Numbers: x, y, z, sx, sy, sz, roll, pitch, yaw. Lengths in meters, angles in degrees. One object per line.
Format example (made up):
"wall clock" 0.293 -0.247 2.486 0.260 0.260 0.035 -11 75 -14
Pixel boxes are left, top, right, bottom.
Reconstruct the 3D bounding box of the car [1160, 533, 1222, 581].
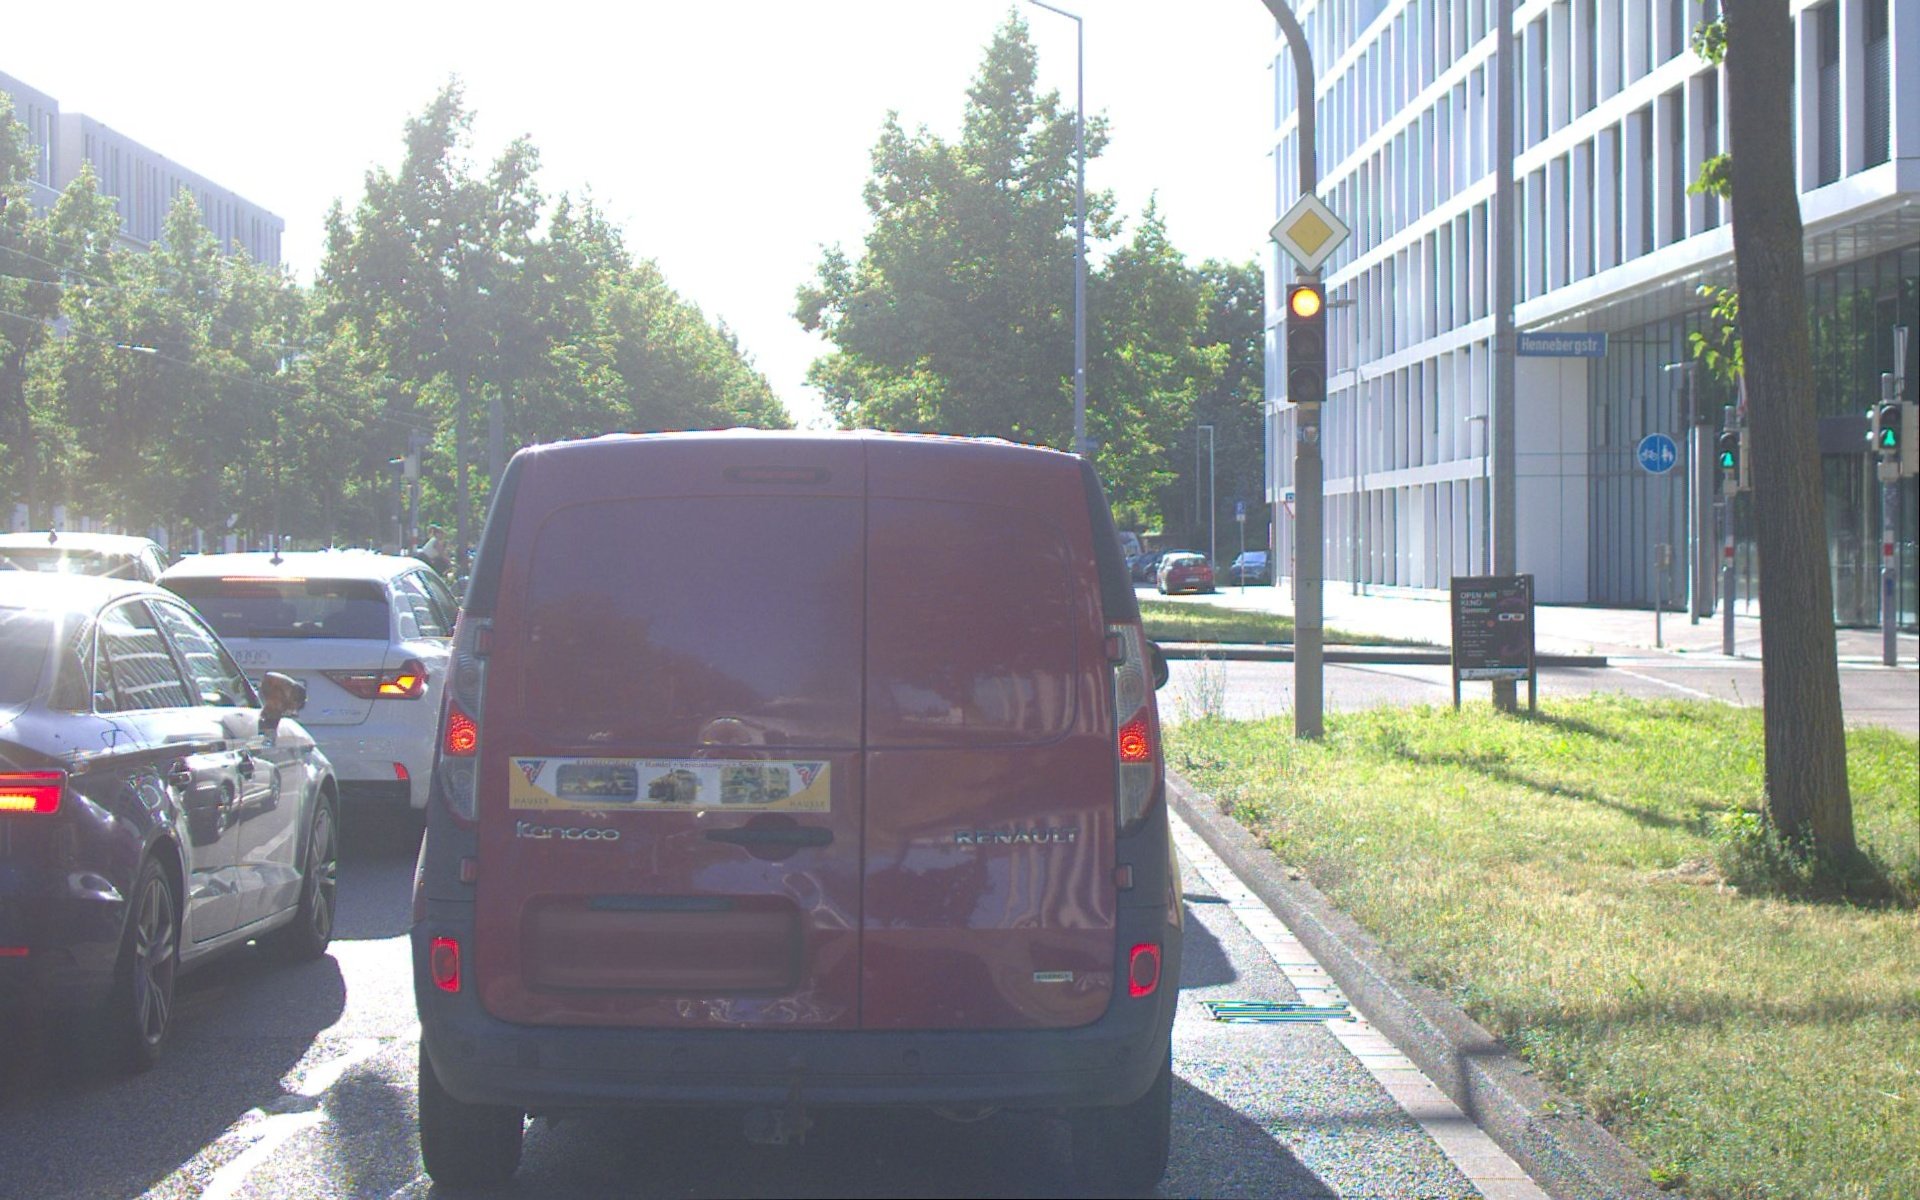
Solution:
"car" 8.577 -1.612 127.900 1.993 1.776 4.000 0 1 -1

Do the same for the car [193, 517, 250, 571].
"car" -36.135 -2.746 168.344 1.993 2.598 4.000 0 1 -1

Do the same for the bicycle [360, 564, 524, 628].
"bicycle" -9.662 -0.083 64.201 2.942 1.186 0.818 0 1 0

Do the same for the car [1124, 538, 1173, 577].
"car" 8.784 -1.985 160.611 1.993 1.776 4.000 0 1 -1

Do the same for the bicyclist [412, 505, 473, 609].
"bicyclist" -9.664 -0.806 64.206 0.998 1.940 0.818 0 1 0

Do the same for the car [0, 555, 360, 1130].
"car" -3.166 0.584 10.831 1.842 1.421 4.339 0 1 -1

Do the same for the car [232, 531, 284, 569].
"car" -37.227 -2.656 182.403 1.993 2.007 4.000 0 1 -1

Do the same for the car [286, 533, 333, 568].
"car" -37.677 -2.869 199.217 1.993 2.007 4.000 0 1 -1

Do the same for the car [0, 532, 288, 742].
"car" -6.347 0.210 25.970 1.799 1.442 4.569 0 1 -2

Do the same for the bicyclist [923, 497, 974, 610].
"bicyclist" -0.225 -0.861 63.931 0.940 2.085 0.818 0 1 0

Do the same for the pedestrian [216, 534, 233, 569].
"pedestrian" -42.578 -2.800 198.999 0.806 2.007 0.871 0 1 -1

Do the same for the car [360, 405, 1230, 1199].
"car" -0.375 0.439 9.301 1.842 1.774 4.000 0 1 -1

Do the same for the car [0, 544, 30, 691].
"car" -11.100 0.210 35.247 1.799 1.442 4.568 -1 0 -31

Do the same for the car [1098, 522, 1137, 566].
"car" 9.072 -3.249 198.318 1.993 2.488 4.987 0 1 -1

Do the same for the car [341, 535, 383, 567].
"car" -37.758 -3.081 217.235 1.993 2.007 4.000 0 1 -1

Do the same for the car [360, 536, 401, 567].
"car" -37.547 -3.138 222.859 1.993 2.007 4.000 0 1 -1

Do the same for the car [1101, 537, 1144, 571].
"car" 8.486 -2.417 179.808 1.993 1.776 4.000 0 1 -1

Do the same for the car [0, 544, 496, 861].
"car" -3.510 0.433 17.529 1.803 1.421 3.901 0 1 -1
